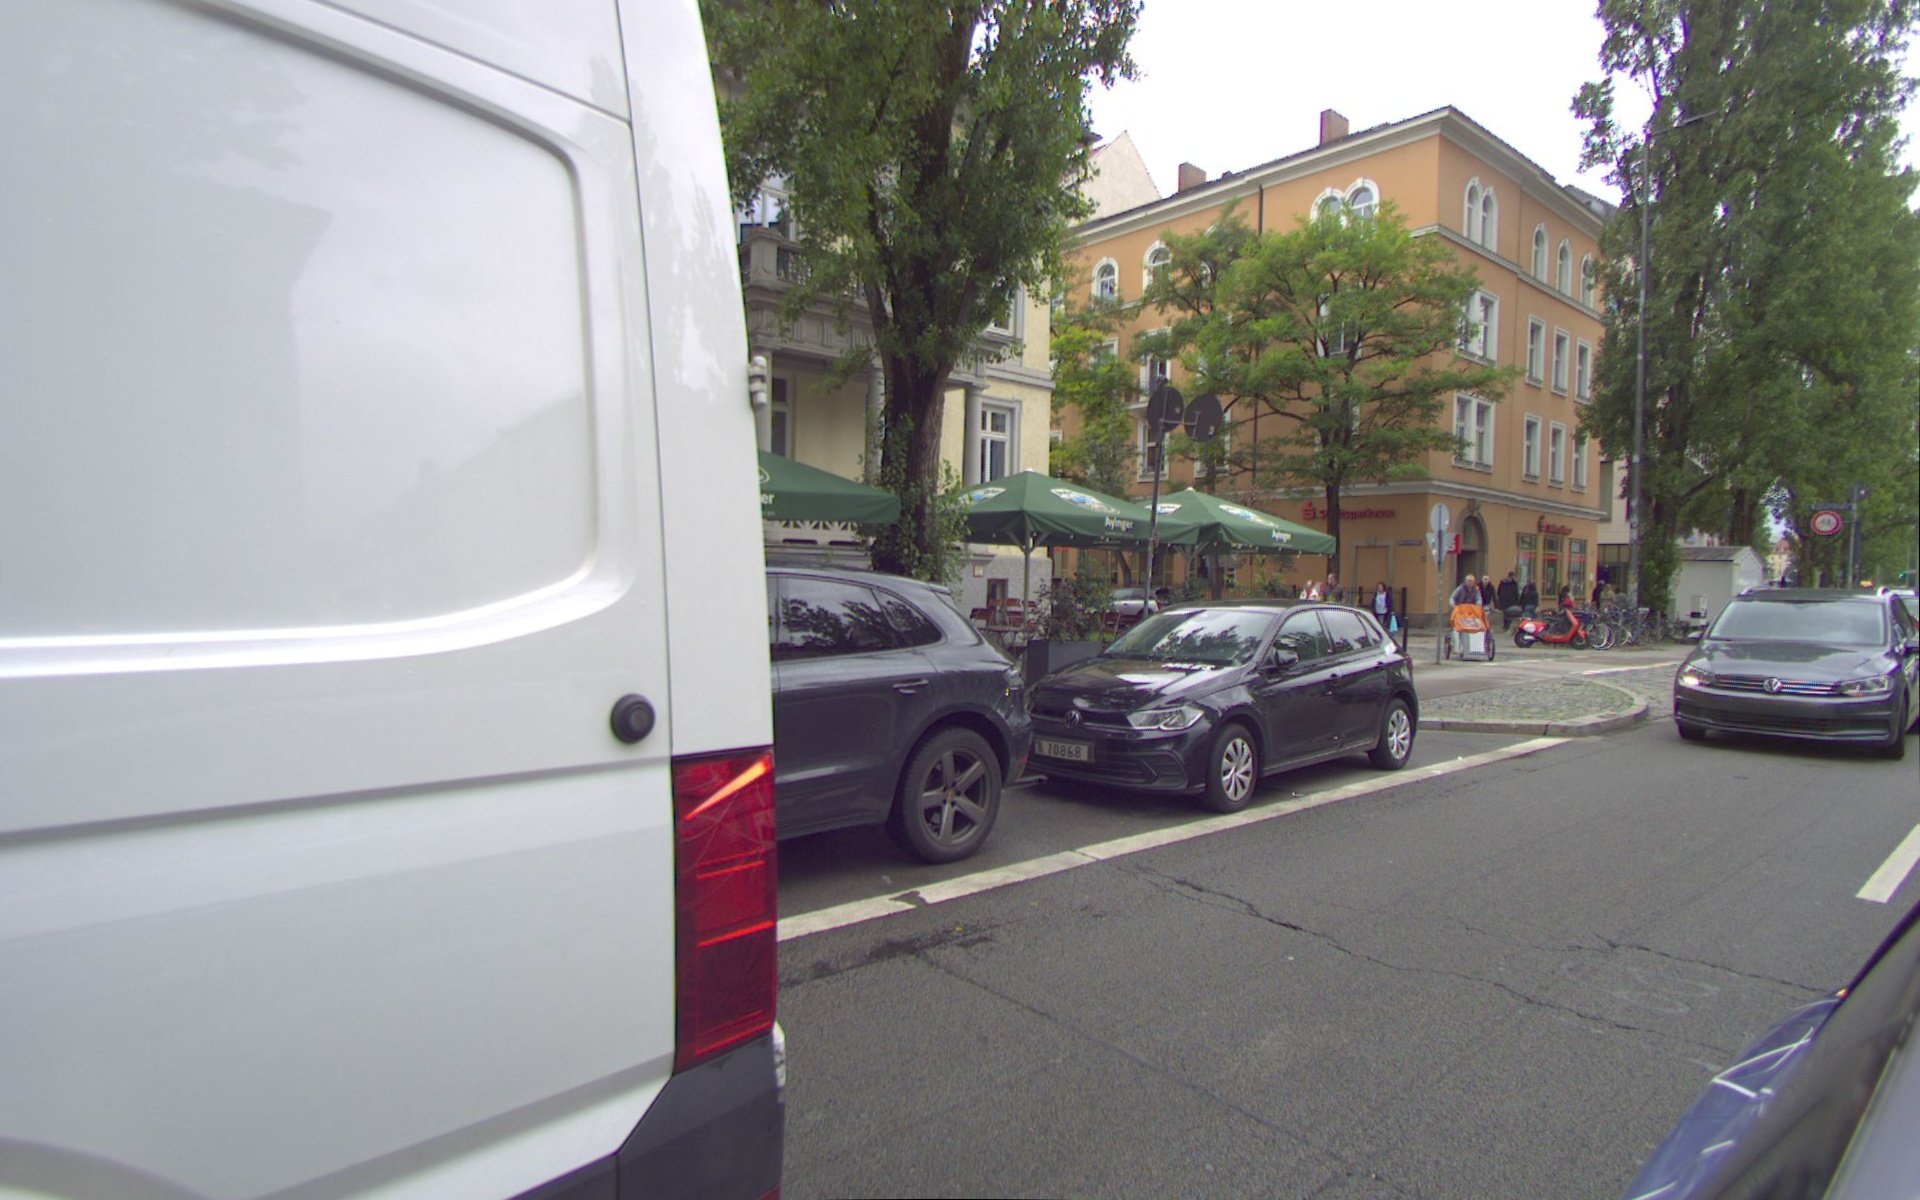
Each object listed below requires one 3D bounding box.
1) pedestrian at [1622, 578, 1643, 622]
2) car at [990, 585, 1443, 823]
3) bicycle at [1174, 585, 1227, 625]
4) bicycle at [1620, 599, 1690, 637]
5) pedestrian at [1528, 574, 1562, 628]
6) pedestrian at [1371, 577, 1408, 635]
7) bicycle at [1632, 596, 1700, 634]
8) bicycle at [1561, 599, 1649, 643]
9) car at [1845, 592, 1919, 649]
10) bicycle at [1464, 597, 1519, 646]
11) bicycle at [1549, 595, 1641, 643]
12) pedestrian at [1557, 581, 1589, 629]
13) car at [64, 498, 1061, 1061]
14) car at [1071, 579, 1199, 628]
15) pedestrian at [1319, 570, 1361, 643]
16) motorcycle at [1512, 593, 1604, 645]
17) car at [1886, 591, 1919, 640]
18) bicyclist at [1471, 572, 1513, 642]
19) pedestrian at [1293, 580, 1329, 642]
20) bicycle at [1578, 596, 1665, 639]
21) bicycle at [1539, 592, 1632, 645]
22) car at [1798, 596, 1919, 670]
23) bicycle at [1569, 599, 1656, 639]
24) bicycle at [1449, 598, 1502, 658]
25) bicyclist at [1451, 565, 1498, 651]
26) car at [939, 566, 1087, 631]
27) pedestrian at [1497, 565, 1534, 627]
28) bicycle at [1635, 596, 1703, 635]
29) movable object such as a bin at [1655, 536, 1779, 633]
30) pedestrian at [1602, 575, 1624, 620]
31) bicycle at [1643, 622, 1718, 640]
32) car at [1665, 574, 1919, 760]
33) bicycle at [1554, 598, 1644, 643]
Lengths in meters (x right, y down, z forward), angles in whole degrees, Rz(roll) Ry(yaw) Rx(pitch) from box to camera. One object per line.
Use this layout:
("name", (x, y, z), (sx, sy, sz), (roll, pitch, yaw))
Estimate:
("pedestrian", (26.342, 0.002, 39.663), (0.617, 1.715, 0.566), (0, 0, 41))
("car", (2.224, 0.628, 8.170), (3.884, 1.434, 1.696), (0, 1, -43))
("bicycle", (8.701, 0.161, 36.669), (0.551, 1.389, 1.945), (1, 0, -39))
("bicycle", (19.902, 0.511, 29.002), (1.597, 1.022, 0.337), (2, 1, 43))
("pedestrian", (18.476, 0.029, 31.944), (0.758, 1.682, 0.744), (0, 0, -43))
("pedestrian", (12.028, 0.158, 28.349), (0.651, 1.590, 0.746), (0, 0, -38))
("bicycle", (21.166, 0.439, 30.366), (1.593, 1.098, 0.319), (2, 1, 28))
("bicycle", (17.543, 0.544, 27.558), (0.551, 1.089, 1.945), (0, 1, -39))
("car", (27.684, 0.556, 29.898), (4.421, 1.572, 1.787), (0, 1, -42))
("bicycle", (13.282, 0.509, 25.257), (0.735, 1.134, 2.071), (2, 1, 41))
("bicycle", (16.623, 0.471, 26.527), (0.551, 1.151, 1.945), (0, 1, -39))
("pedestrian", (20.420, 0.164, 33.697), (0.603, 1.590, 0.746), (0, 0, -38))
("car", (-1.619, 0.507, 5.129), (4.371, 1.658, 1.805), (0, 1, -42))
("car", (5.851, 0.093, 34.233), (1.873, 1.539, 3.993), (-1, 1, -41))
("pedestrian", (9.542, 0.157, 25.427), (0.718, 1.788, 0.699), (0, 0, -38))
("motorcycle", (15.196, 0.472, 25.769), (1.939, 1.236, 0.510), (2, 1, 25))
("car", (33.985, 0.514, 35.483), (4.421, 1.634, 1.787), (0, 1, -42))
("bicyclist", (13.263, 0.157, 25.220), (0.739, 1.708, 0.737), (2, 1, 42))
("pedestrian", (9.229, 0.279, 26.628), (0.564, 1.590, 0.699), (0, 0, -38))
("bicycle", (18.550, 0.480, 28.426), (0.551, 1.098, 1.945), (0, 1, -39))
("bicycle", (16.127, 0.451, 26.135), (0.551, 1.255, 1.945), (0, 1, -39))
("car", (19.806, 0.652, 21.181), (3.919, 1.451, 1.621), (0, 0, -18))
("bicycle", (17.995, 0.511, 27.943), (0.551, 1.022, 1.945), (0, 1, -39))
("bicycle", (10.814, 0.556, 21.290), (0.878, 1.134, 2.085), (2, 1, 24))
("bicyclist", (10.958, 0.165, 21.571), (0.822, 1.779, 0.662), (1, 1, 25))
("car", (1.437, -0.065, 29.148), (1.934, 1.723, 4.429), (0, 1, -36))
("pedestrian", (17.789, -0.134, 32.402), (0.788, 1.973, 0.838), (0, 0, -43))
("bicycle", (21.026, 0.442, 30.031), (1.588, 1.098, 0.339), (2, 1, 28))
("movable object such as a bin", (26.684, -0.562, 35.643), (4.463, 3.175, 2.445), (0, 3, -41))
("pedestrian", (25.503, -0.097, 39.542), (0.632, 1.715, 0.566), (0, 0, 42))
("bicycle", (20.777, 0.890, 29.182), (1.671, 0.378, 0.818), (4, 3, 42))
("car", (9.277, 0.567, 10.878), (4.120, 1.611, 1.881), (0, 1, -42))
("bicycle", (17.037, 0.532, 27.025), (0.551, 1.102, 1.945), (0, 1, -39))
